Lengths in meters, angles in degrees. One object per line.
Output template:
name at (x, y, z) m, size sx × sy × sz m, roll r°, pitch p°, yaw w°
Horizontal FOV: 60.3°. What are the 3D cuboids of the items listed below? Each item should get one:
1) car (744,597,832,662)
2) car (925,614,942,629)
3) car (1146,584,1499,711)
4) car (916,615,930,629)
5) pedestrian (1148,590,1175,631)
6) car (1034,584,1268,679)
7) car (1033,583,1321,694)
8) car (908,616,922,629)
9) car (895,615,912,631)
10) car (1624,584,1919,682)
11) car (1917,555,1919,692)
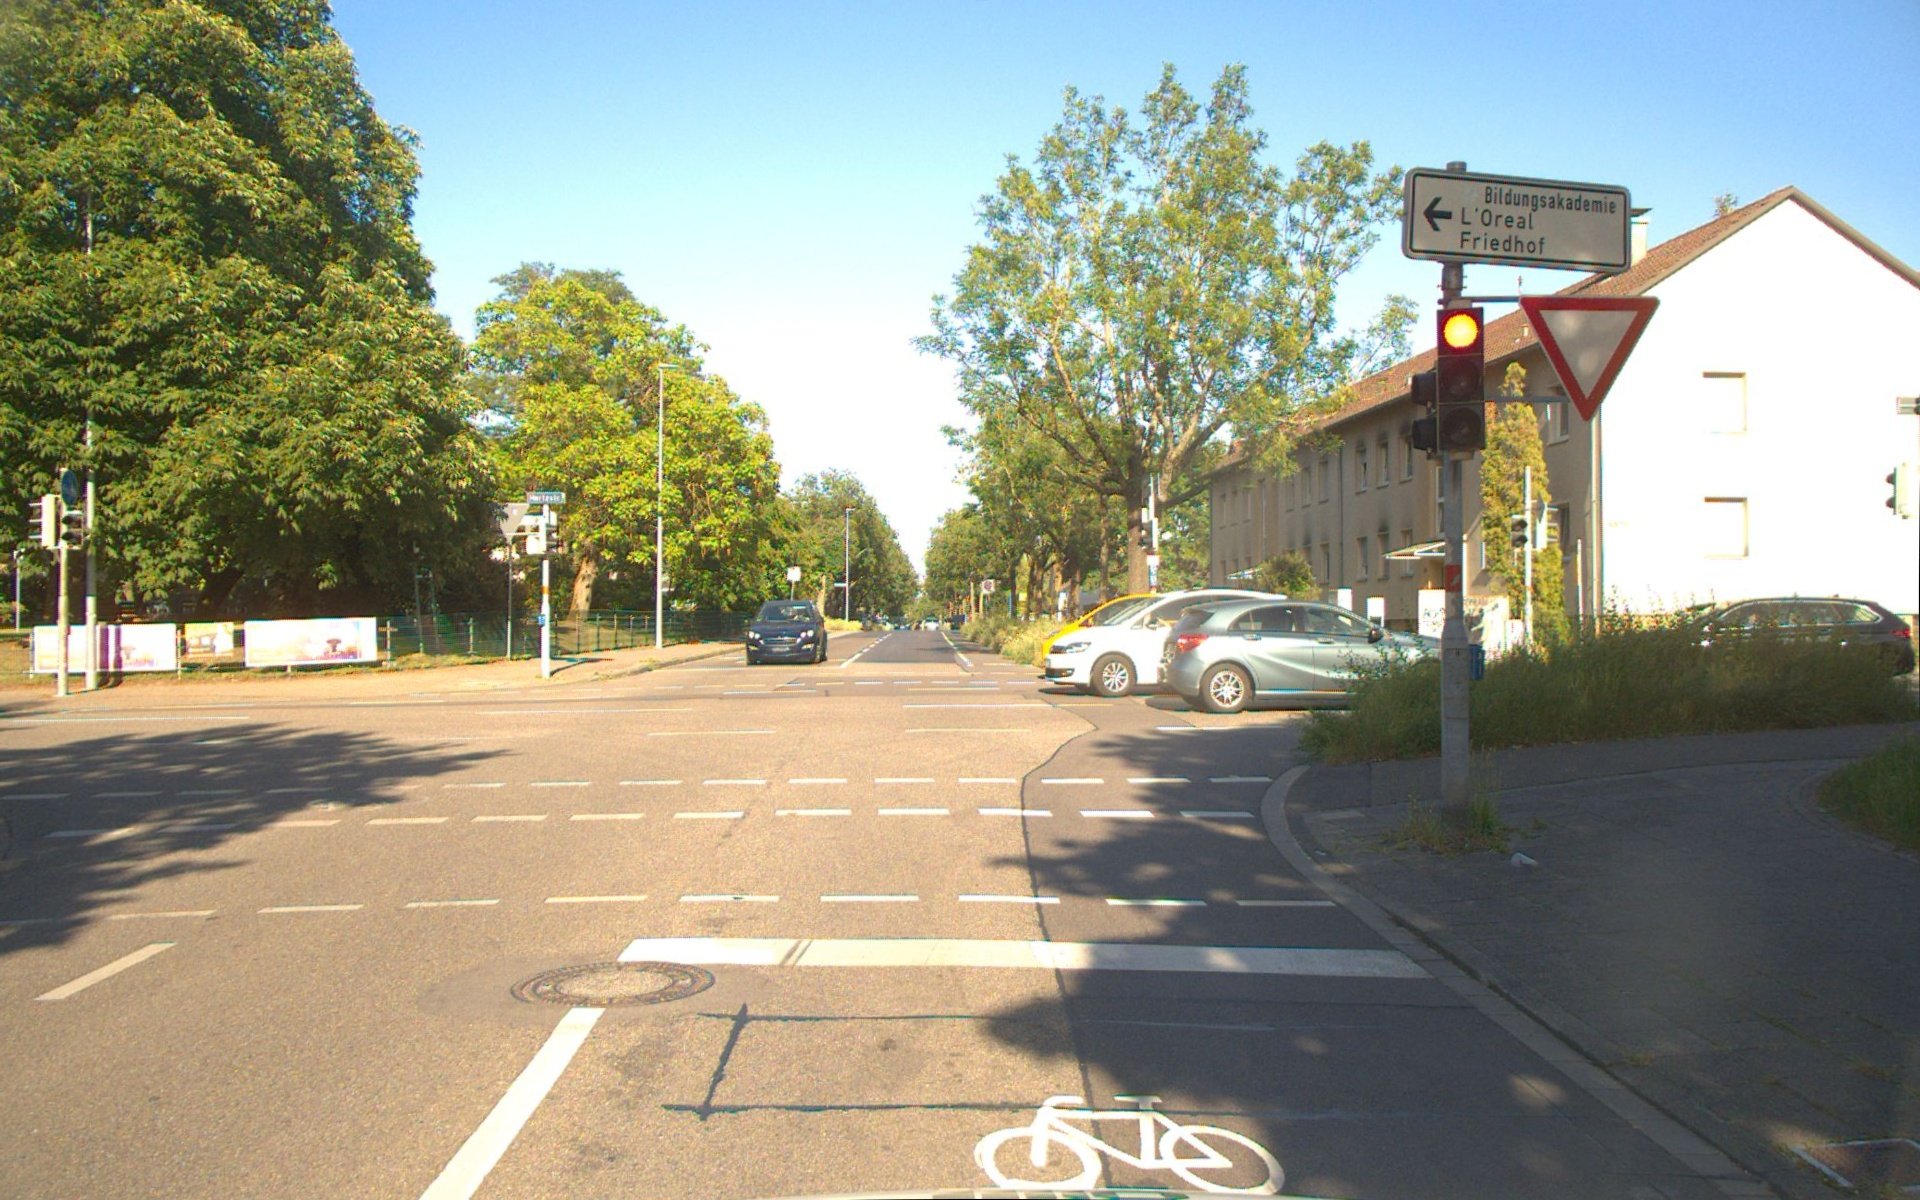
car at (-3.961, 0.658, 38.557) m, size 1.676 × 1.410 × 3.471 m, roll 0°, pitch 0°, yaw 0°
car at (-2.829, 2.220, 174.287) m, size 1.807 × 1.487 × 3.529 m, roll 0°, pitch 0°, yaw -1°
car at (4.704, 0.593, 21.861) m, size 4.198 × 1.515 × 1.912 m, roll -1°, pitch 0°, yaw -3°
car at (-4.540, 2.651, 203.589) m, size 1.722 × 1.653 × 3.268 m, roll 0°, pitch 0°, yaw 0°
pedestrian at (7.674, 0.383, 63.039) m, size 0.825 × 1.519 × 0.924 m, roll 2°, pitch 0°, yaw -1°
car at (3.482, 0.552, 30.127) m, size 3.906 × 1.610 × 1.757 m, roll 1°, pitch -1°, yaw 23°
car at (3.276, 0.583, 25.302) m, size 4.031 × 1.591 × 1.754 m, roll 1°, pitch -1°, yaw -9°
car at (-6.126, 3.062, 224.575) m, size 1.722 × 1.653 × 3.268 m, roll 0°, pitch 0°, yaw 0°
car at (-6.321, 2.567, 185.154) m, size 1.722 × 1.653 × 3.268 m, roll 0°, pitch 0°, yaw 0°
car at (13.134, 0.485, 26.019) m, size 4.637 × 1.455 × 1.997 m, roll 0°, pitch 0°, yaw -7°
car at (15.628, 0.315, 22.467) m, size 4.260 × 1.920 × 1.858 m, roll -1°, pitch 0°, yaw -5°
